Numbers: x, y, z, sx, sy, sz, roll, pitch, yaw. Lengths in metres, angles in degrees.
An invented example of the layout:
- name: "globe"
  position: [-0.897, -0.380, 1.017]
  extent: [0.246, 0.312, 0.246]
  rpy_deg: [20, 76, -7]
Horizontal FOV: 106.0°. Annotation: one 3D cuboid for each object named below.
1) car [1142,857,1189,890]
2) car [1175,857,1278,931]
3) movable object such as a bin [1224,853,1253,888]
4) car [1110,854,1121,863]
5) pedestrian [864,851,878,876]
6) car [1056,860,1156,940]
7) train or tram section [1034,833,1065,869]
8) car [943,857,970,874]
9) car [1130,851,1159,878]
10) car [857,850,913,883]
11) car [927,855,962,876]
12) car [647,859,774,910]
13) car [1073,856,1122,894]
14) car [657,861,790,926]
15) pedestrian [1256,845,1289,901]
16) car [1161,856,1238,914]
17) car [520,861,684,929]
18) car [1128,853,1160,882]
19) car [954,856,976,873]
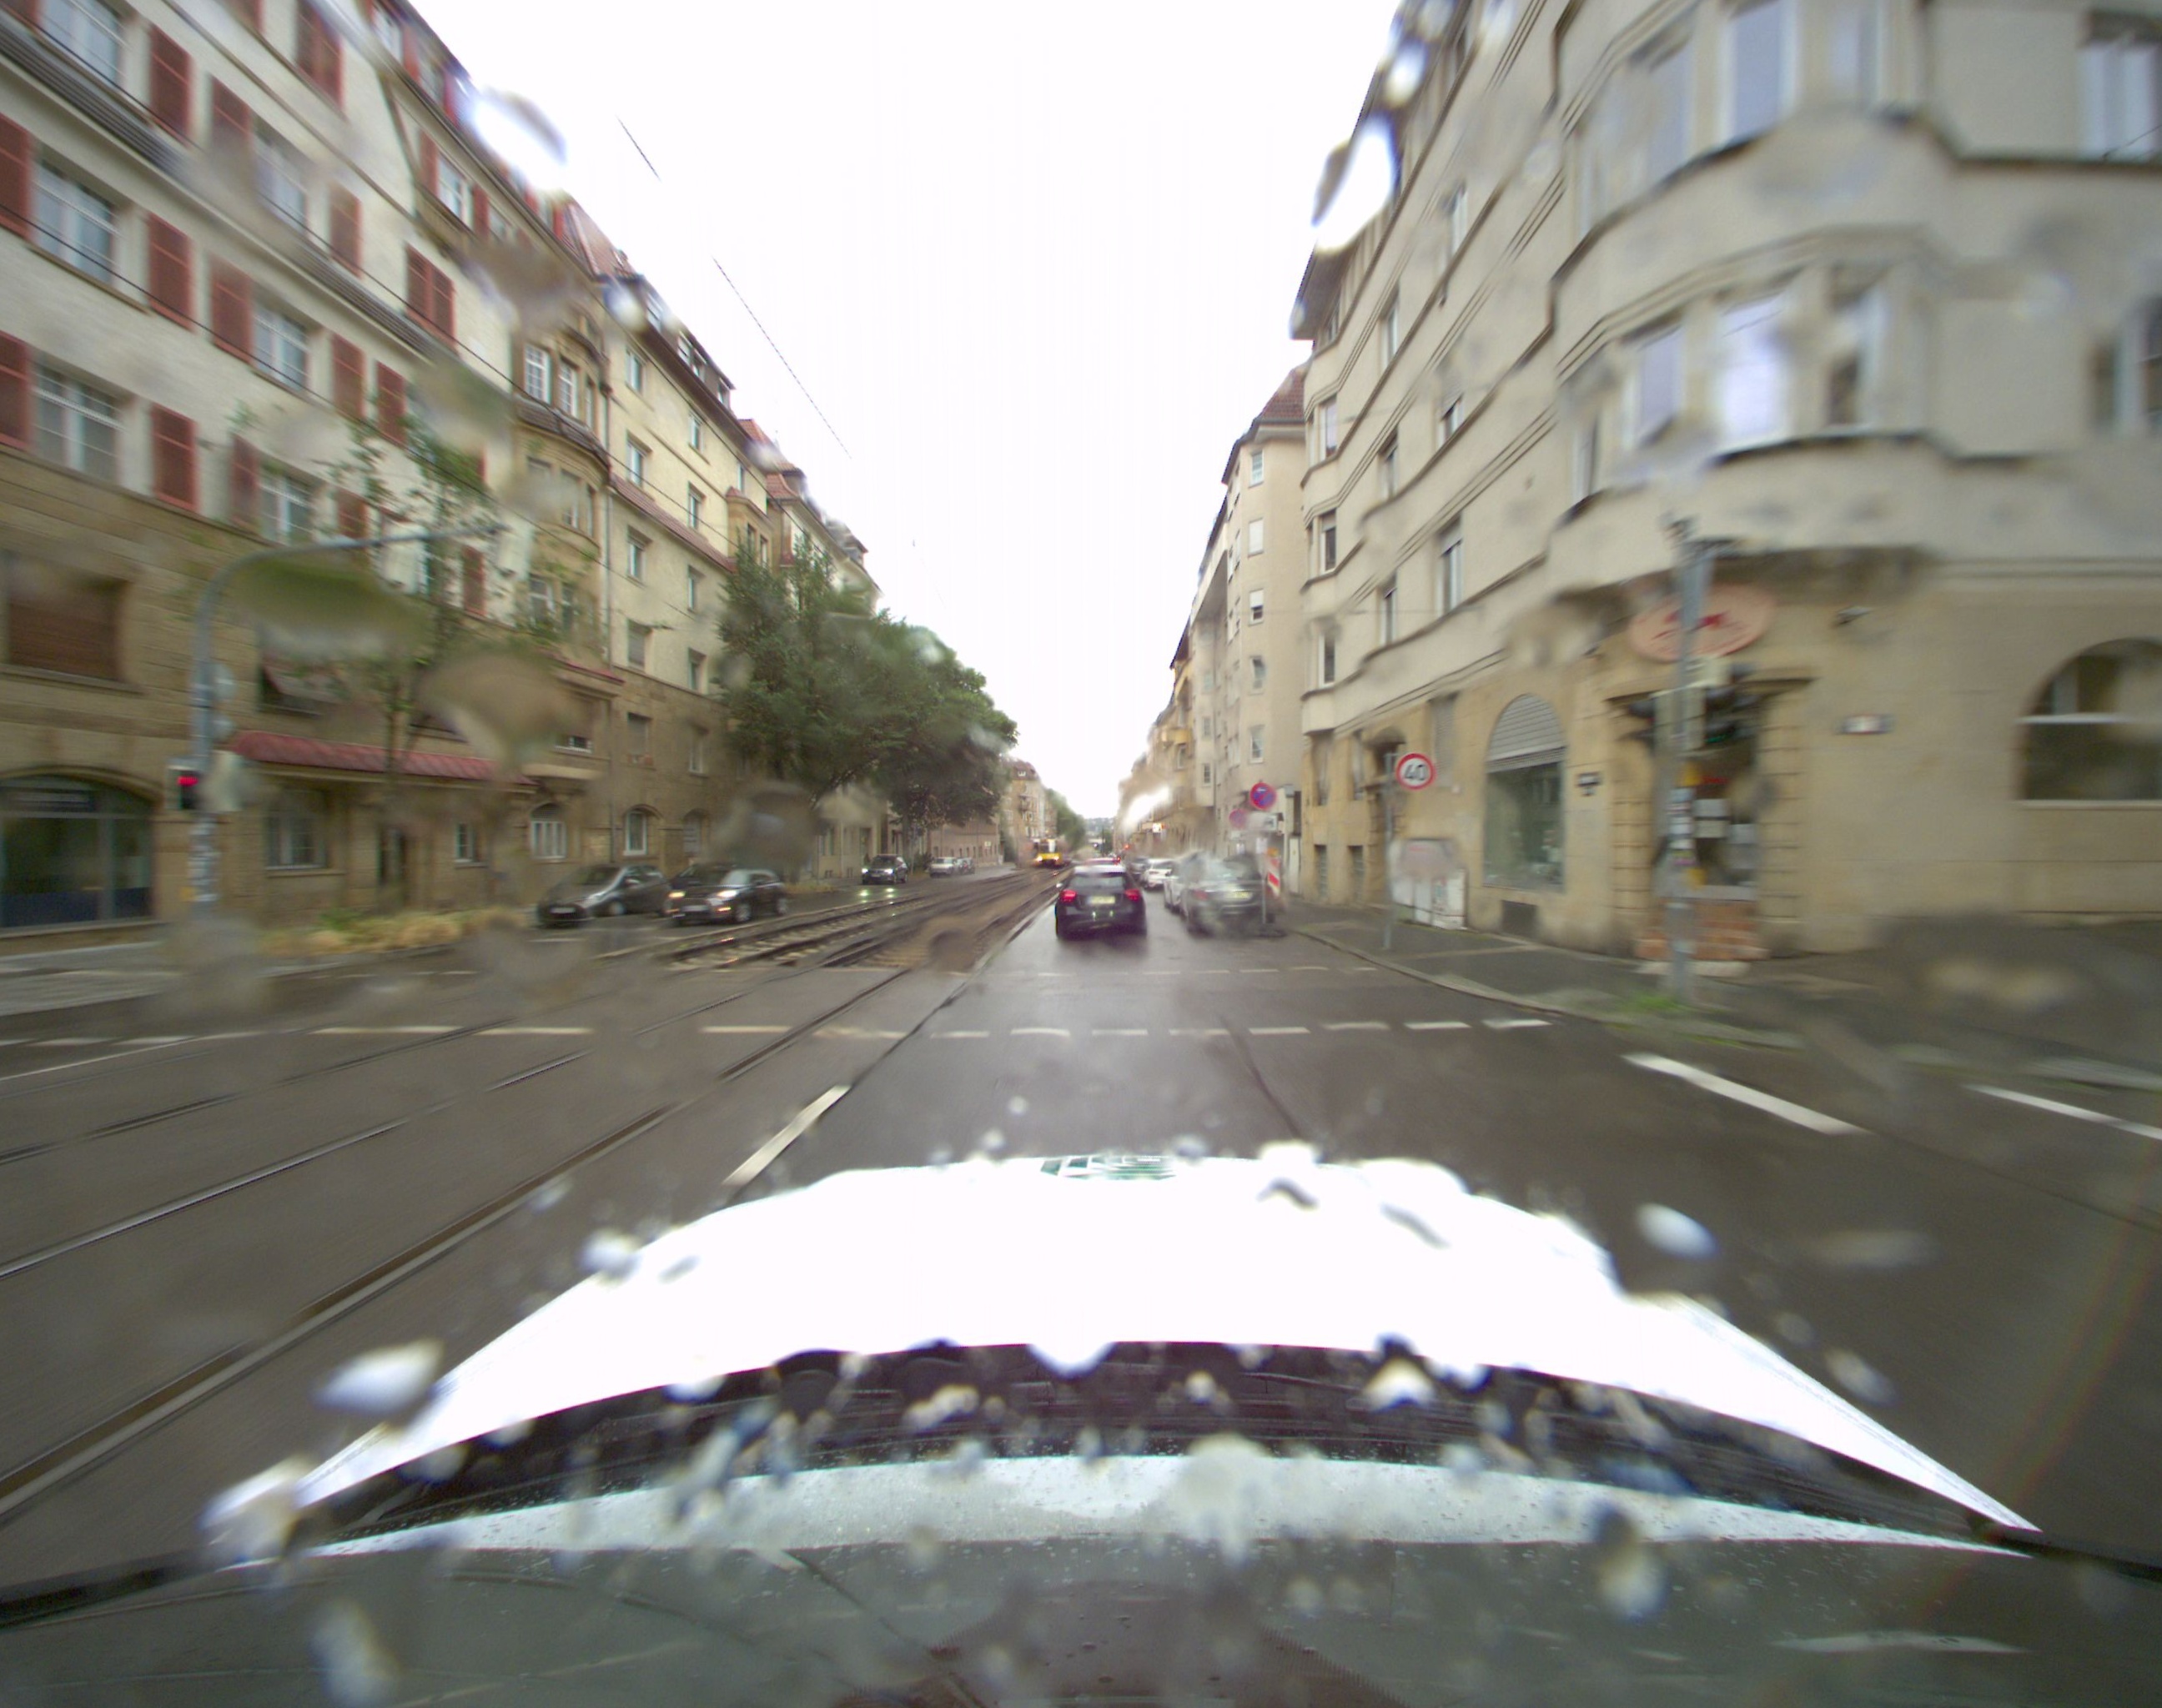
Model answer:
- name: "car"
  position: [3.740, 0.850, 36.684]
  extent: [1.782, 1.385, 4.396]
  rpy_deg: [-1, -1, 2]
- name: "car"
  position: [3.104, 0.810, 18.258]
  extent: [1.703, 1.410, 4.821]
  rpy_deg: [-1, -1, 3]
- name: "movable object such as a bin"
  position: [6.652, 0.696, 34.405]
  extent: [0.976, 1.468, 1.273]
  rpy_deg: [-1, -1, 1]
- name: "car"
  position: [6.247, 0.783, 148.143]
  extent: [1.879, 1.525, 4.249]
  rpy_deg: [0, 0, 4]
- name: "pedestrian"
  position: [-14.189, 0.645, 55.002]
  extent: [0.725, 1.663, 0.771]
  rpy_deg: [0, 0, 1]
- name: "car"
  position: [0.527, 0.865, 16.917]
  extent: [1.828, 1.453, 3.903]
  rpy_deg: [-1, 0, 2]
- name: "train or tram section"
  position: [-3.757, -0.354, 100.959]
  extent: [2.735, 4.062, 17.217]
  rpy_deg: [-1, 0, 1]
- name: "car"
  position: [-10.591, 0.981, 69.583]
  extent: [1.660, 1.415, 3.688]
  rpy_deg: [0, 0, 1]
- name: "car"
  position: [4.255, 0.729, 55.338]
  extent: [1.771, 1.750, 4.551]
  rpy_deg: [-1, -1, 3]
- name: "car"
  position: [-11.299, 0.697, 47.260]
  extent: [1.946, 1.742, 4.779]
  rpy_deg: [2, 0, 0]
- name: "car"
  position: [-10.785, 0.911, 64.526]
  extent: [1.954, 1.605, 4.329]
  rpy_deg: [0, 0, 1]
- name: "car"
  position: [-11.779, 0.937, 26.302]
  extent: [1.775, 1.460, 4.978]
  rpy_deg: [-1, -1, 0]
- name: "car"
  position: [0.743, 0.856, 34.891]
  extent: [1.986, 1.525, 4.247]
  rpy_deg: [0, 0, 2]
- name: "car"
  position: [-9.093, 0.953, 21.062]
  extent: [1.647, 1.463, 3.736]
  rpy_deg: [-2, 0, 2]
- name: "pedestrian"
  position: [5.923, 0.586, 25.223]
  extent: [0.801, 1.687, 0.754]
  rpy_deg: [-1, -1, 1]
- name: "car"
  position: [3.322, 0.844, 23.623]
  extent: [1.705, 1.468, 4.776]
  rpy_deg: [-1, -1, 2]
- name: "car"
  position: [-11.993, 0.975, 20.746]
  extent: [1.684, 1.529, 4.175]
  rpy_deg: [-1, -1, 0]
- name: "car"
  position: [3.801, 0.805, 49.284]
  extent: [1.833, 1.608, 4.765]
  rpy_deg: [-1, -1, 4]
- name: "car"
  position: [-10.427, 0.945, 73.346]
  extent: [1.567, 1.467, 3.045]
  rpy_deg: [0, 0, 0]
